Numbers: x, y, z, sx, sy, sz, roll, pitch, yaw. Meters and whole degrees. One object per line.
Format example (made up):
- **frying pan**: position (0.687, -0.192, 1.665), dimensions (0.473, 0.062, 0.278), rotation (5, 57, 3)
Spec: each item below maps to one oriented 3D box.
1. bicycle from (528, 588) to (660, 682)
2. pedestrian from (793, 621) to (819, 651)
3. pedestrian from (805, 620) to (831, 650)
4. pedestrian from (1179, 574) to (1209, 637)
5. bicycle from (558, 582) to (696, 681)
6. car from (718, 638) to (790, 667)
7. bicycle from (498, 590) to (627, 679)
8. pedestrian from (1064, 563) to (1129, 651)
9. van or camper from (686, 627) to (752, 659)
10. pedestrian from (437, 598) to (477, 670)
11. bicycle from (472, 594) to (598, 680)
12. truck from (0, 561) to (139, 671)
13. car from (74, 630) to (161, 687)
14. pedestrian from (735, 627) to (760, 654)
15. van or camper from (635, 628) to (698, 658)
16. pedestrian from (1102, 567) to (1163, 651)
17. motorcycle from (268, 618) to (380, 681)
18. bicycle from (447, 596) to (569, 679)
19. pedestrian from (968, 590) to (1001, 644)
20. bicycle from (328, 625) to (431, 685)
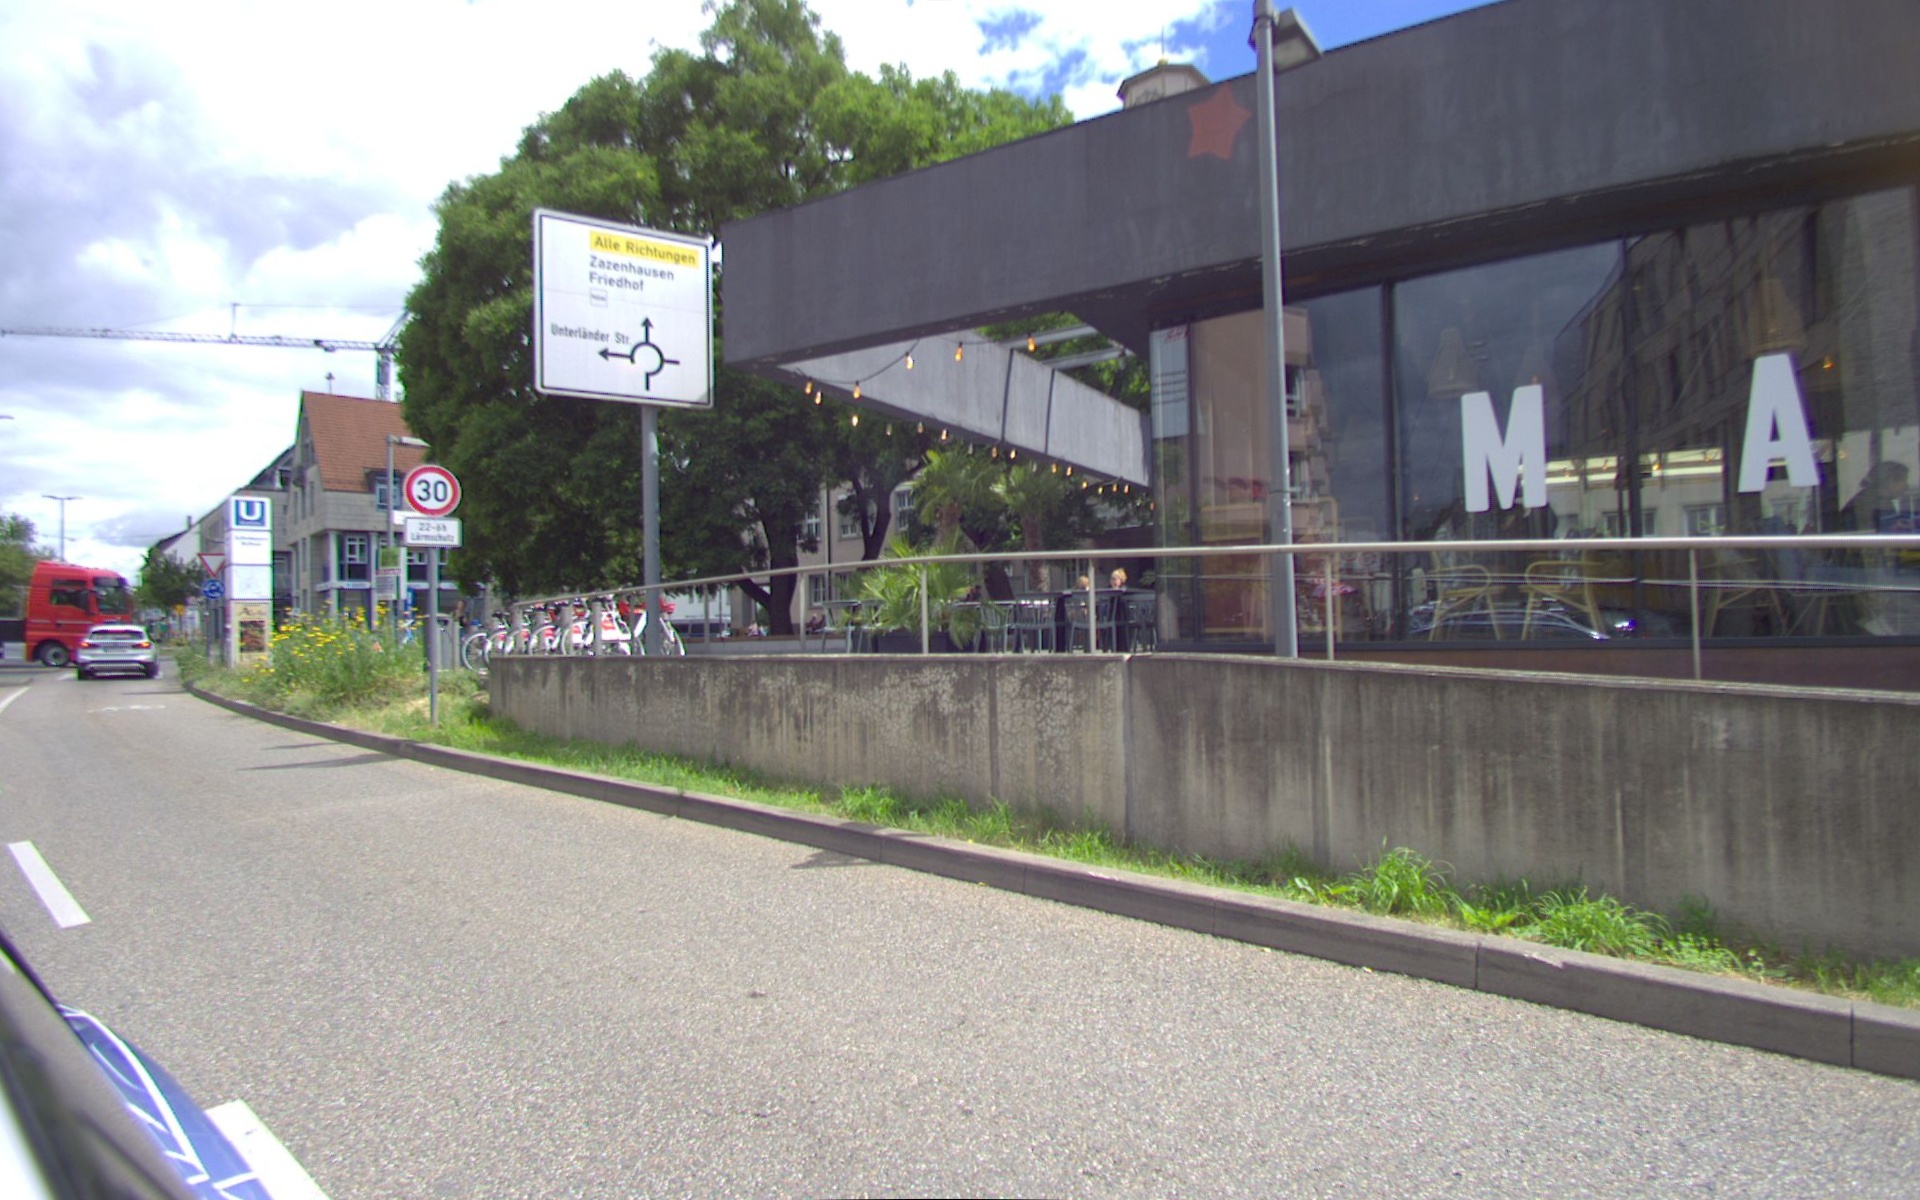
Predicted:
- **bicycle**: position (-4.688, 0.442, 13.033), dimensions (0.533, 1.136, 1.529), rotation (-3, -3, 43)
- **pedestrian**: position (-6.566, 1.517, 43.207), dimensions (0.690, 1.235, 0.806), rotation (-4, -2, 39)
- **pedestrian**: position (-5.982, 1.472, 42.703), dimensions (0.690, 1.235, 0.806), rotation (-4, -2, 39)
- **pedestrian**: position (6.791, 0.153, 29.357), dimensions (0.593, 1.821, 0.635), rotation (-1, 0, 43)
- **bicycle**: position (-4.031, 0.377, 12.330), dimensions (0.533, 1.136, 1.529), rotation (-3, -3, 43)
- **car**: position (-12.831, 3.266, 63.093), dimensions (4.011, 1.551, 1.750), rotation (-1, 0, -39)
- **bicycle**: position (-5.298, 0.455, 13.552), dimensions (0.533, 1.136, 1.529), rotation (-3, -3, 43)
- **pedestrian**: position (2.239, 0.116, 16.585), dimensions (0.790, 1.390, 0.792), rotation (-1, 0, 31)
- **van or camper**: position (-18.603, 3.337, 78.290), dimensions (4.639, 2.400, 1.987), rotation (-2, -1, 20)
- **pedestrian**: position (-11.758, 0.794, 23.664), dimensions (0.651, 1.641, 0.801), rotation (-1, -3, -39)
- **bicycle**: position (-5.882, 0.501, 14.063), dimensions (0.533, 1.136, 1.529), rotation (-3, -3, 43)
- **truck**: position (-36.603, 0.631, 36.570), dimensions (10.667, 3.871, 2.690), rotation (-1, 0, -13)
- **car**: position (-25.623, 1.746, 30.902), dimensions (1.799, 1.597, 4.174), rotation (2, -3, -37)
- **pedestrian**: position (-9.629, 1.844, 45.797), dimensions (0.690, 1.184, 0.806), rotation (-4, -2, 39)
- **van or camper**: position (-24.145, 3.525, 83.267), dimensions (4.639, 2.400, 1.987), rotation (-2, -1, 20)
- **pedestrian**: position (2.964, 0.147, 17.387), dimensions (0.790, 1.390, 0.792), rotation (-1, 0, 31)
- **motorcycle**: position (-15.195, 1.154, 24.241), dimensions (0.648, 1.461, 2.165), rotation (-1, -1, 42)
- **bicycle**: position (-6.515, 0.527, 14.633), dimensions (0.533, 1.136, 1.529), rotation (-3, -3, 43)
- **pedestrian**: position (0.854, 0.608, 35.681), dimensions (0.878, 1.864, 0.652), rotation (-4, -3, 44)
- **bicycle**: position (-11.286, 1.058, 19.724), dimensions (0.514, 1.090, 1.669), rotation (-5, -3, 39)
